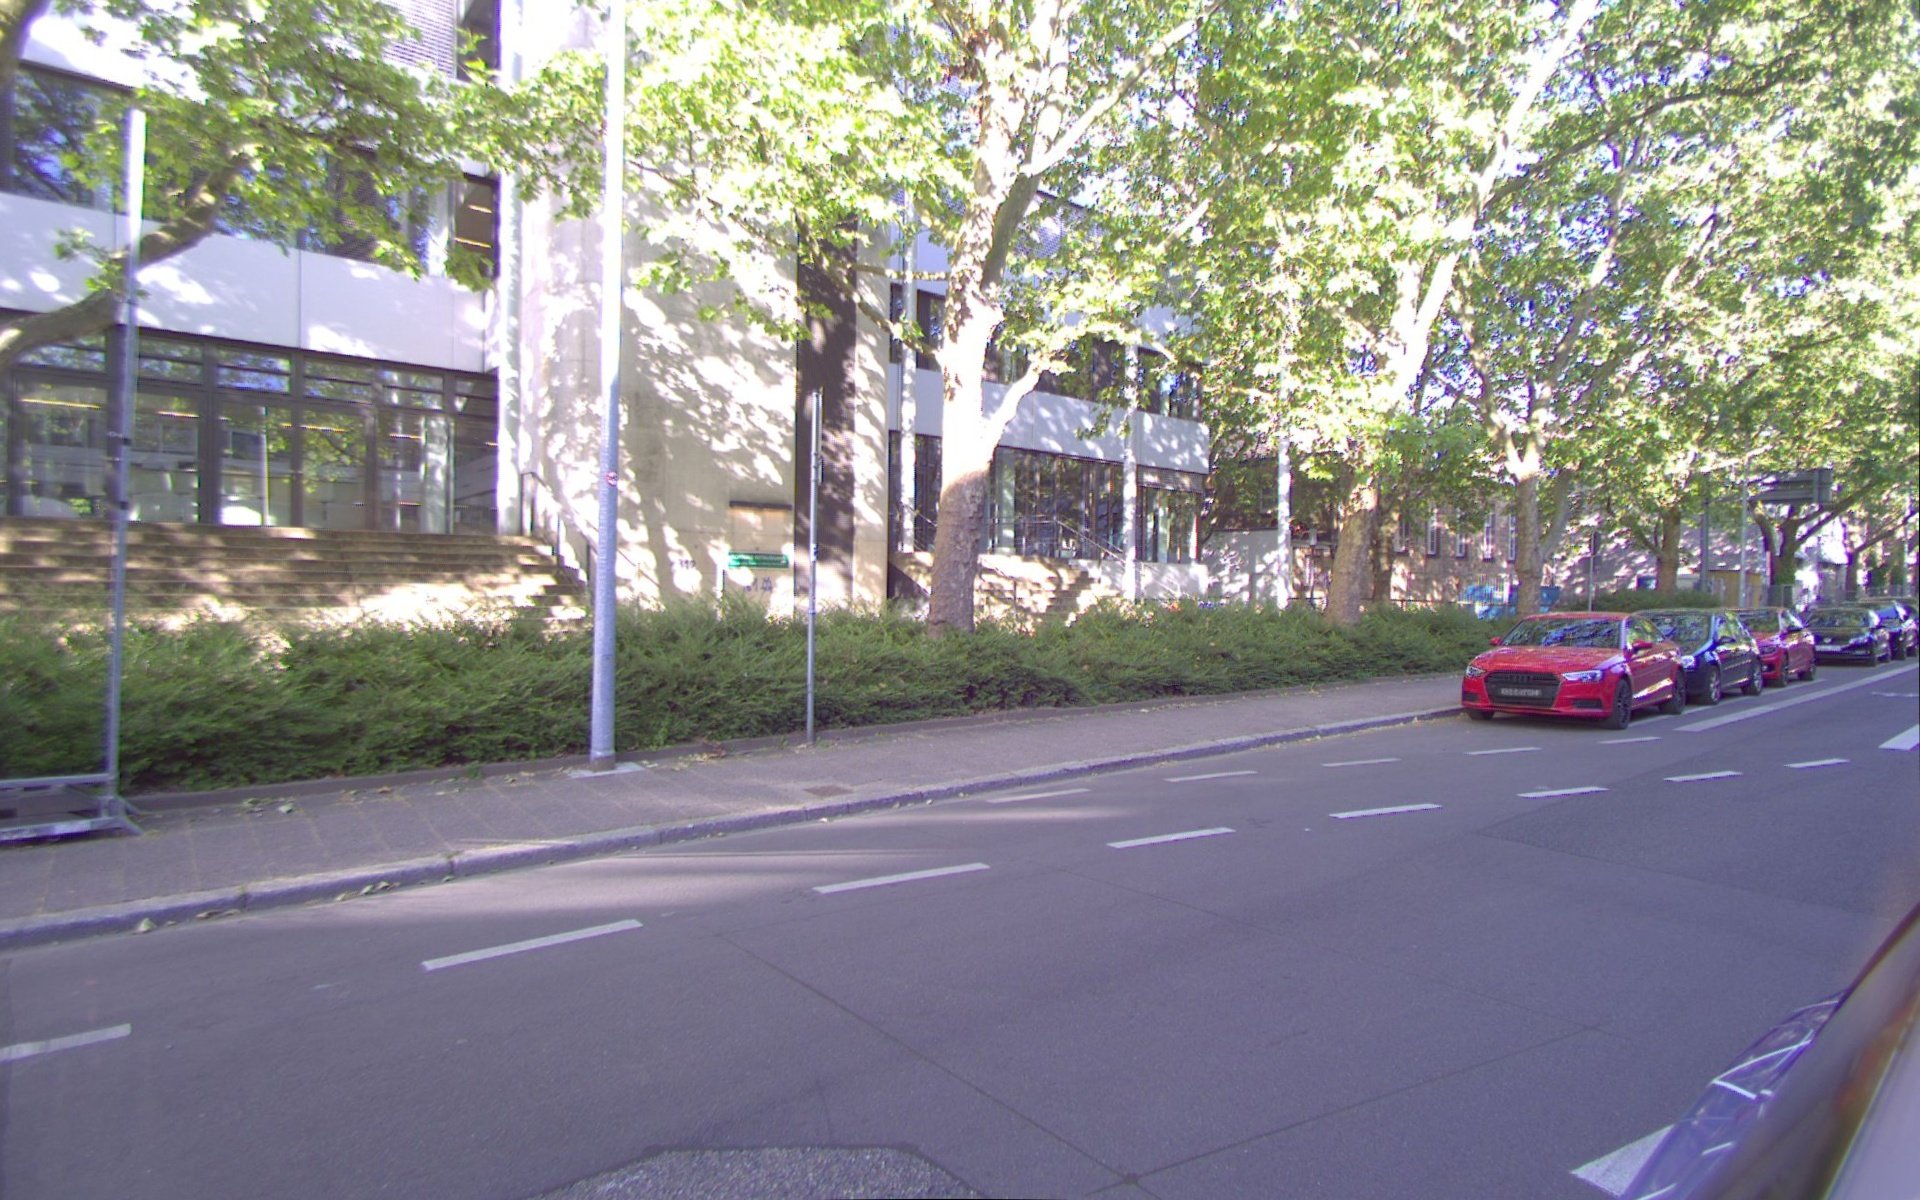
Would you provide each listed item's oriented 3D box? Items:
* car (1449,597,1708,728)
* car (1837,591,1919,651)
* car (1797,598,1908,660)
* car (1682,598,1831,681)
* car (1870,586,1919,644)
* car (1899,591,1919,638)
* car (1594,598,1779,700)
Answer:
[{"bbox_3d":[8.347,0.718,13.534,4.053,1.483,1.802,0,-1,-41],"label":"car"},{"bbox_3d":[26.583,0.577,29.017,3.777,1.607,1.634,0,-1,-41],"label":"car"},{"bbox_3d":[22.897,0.690,25.929,3.674,1.483,1.634,0,-1,-41],"label":"car"},{"bbox_3d":[15.749,0.718,19.963,3.674,1.483,1.634,0,-1,-41],"label":"car"},{"bbox_3d":[31.006,0.468,32.909,3.777,1.828,1.634,0,-1,-41],"label":"car"},{"bbox_3d":[35.944,0.522,37.241,3.777,1.675,1.634,0,-1,-41],"label":"car"},{"bbox_3d":[11.937,0.713,16.551,3.674,1.483,1.634,0,-1,-41],"label":"car"}]
